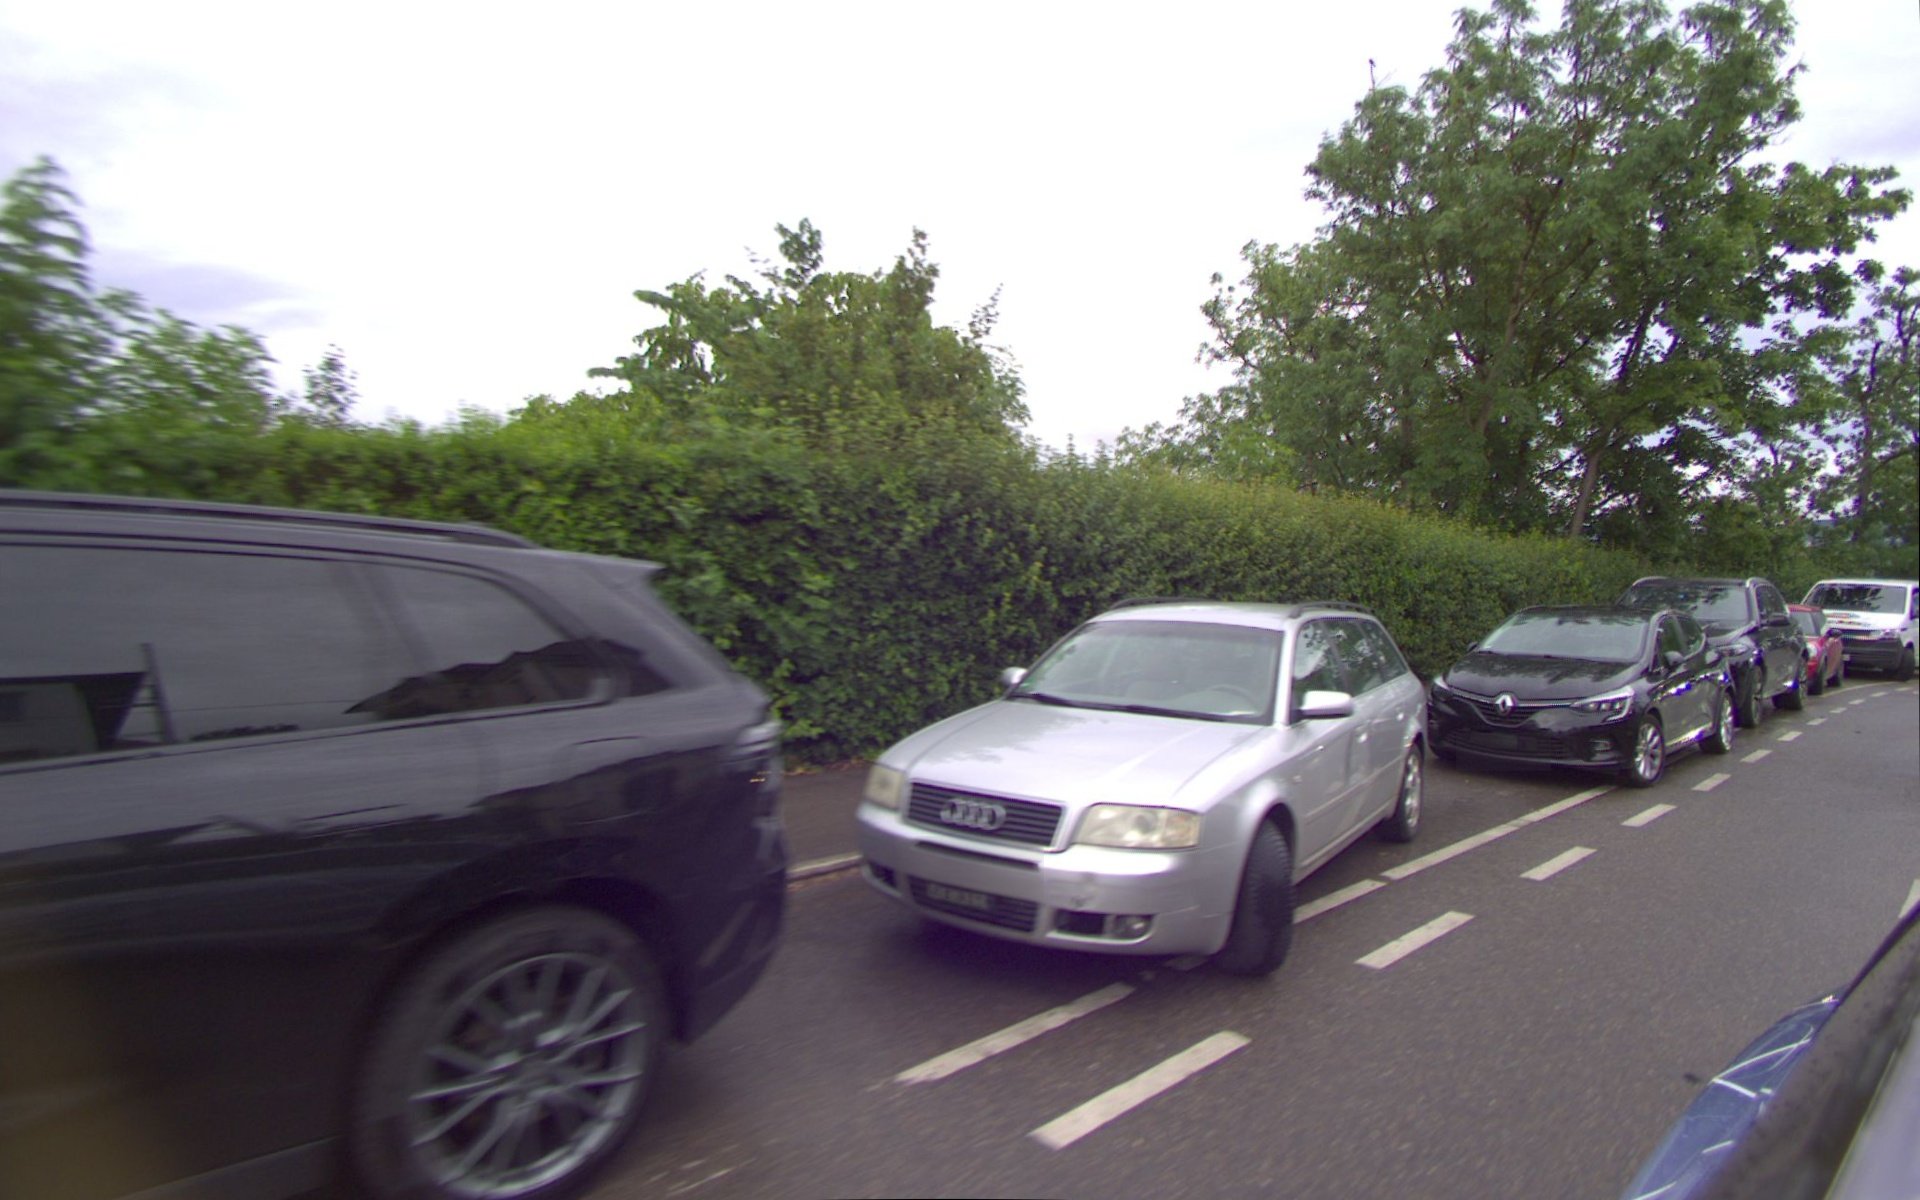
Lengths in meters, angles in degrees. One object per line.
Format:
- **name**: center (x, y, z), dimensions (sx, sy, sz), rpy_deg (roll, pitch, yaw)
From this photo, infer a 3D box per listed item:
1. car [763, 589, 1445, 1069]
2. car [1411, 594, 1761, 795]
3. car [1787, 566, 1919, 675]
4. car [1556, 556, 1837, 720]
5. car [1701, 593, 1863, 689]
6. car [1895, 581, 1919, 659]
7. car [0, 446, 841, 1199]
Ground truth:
- **car**: center (1.235, 0.691, 5.487), dimensions (1.793, 1.458, 4.583), rpy_deg (0, 0, 35)
- **car**: center (5.965, 0.693, 9.466), dimensions (3.914, 1.440, 1.691), rpy_deg (-1, 1, -41)
- **car**: center (19.016, 0.370, 20.751), dimensions (4.715, 1.972, 1.867), rpy_deg (1, 2, -35)
- **car**: center (9.948, 0.416, 13.515), dimensions (4.813, 1.805, 2.030), rpy_deg (1, 1, -41)
- **car**: center (14.161, 0.630, 17.372), dimensions (3.679, 1.431, 1.673), rpy_deg (0, 1, -43)
- **car**: center (24.027, 0.508, 23.491), dimensions (4.287, 1.793, 1.869), rpy_deg (1, 0, -25)
- **car**: center (-2.616, 0.581, 2.151), dimensions (4.471, 1.684, 1.889), rpy_deg (0, -1, -43)
